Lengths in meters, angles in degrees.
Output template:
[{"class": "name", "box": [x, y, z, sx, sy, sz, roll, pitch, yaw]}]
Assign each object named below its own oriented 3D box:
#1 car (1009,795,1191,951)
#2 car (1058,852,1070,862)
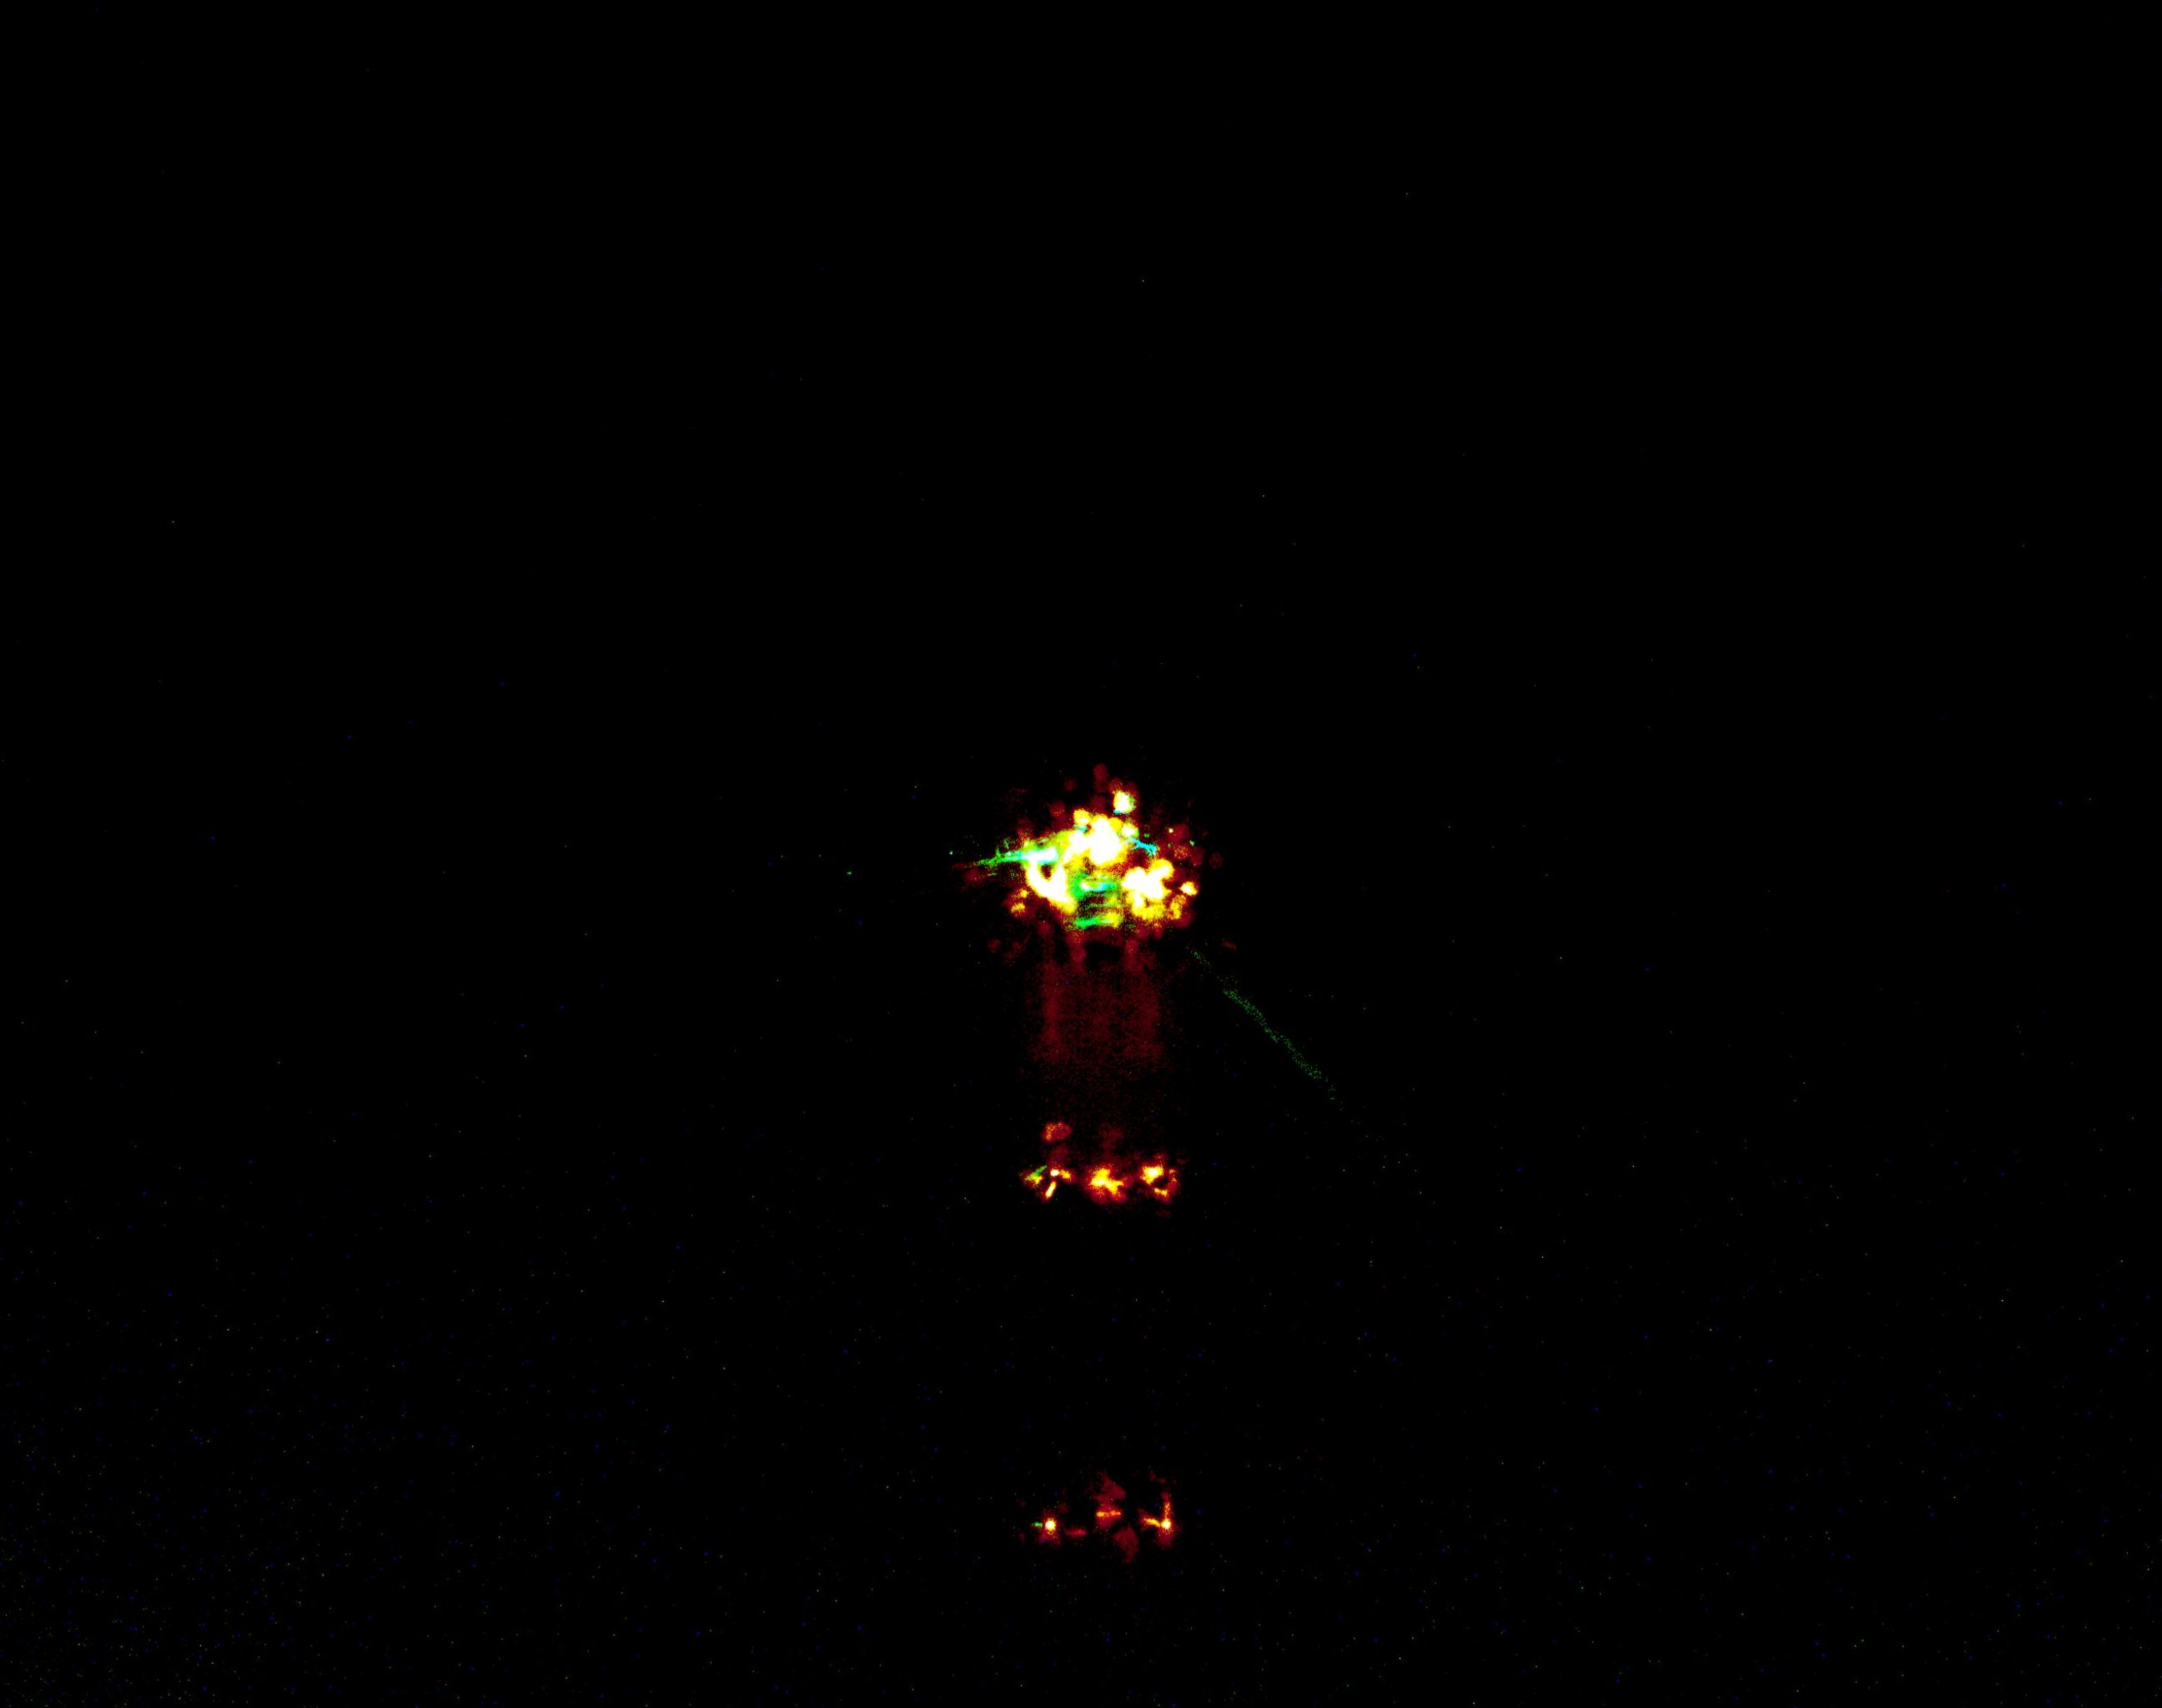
[{"class": "car", "box": [0.322, 0.265, 15.275, 2.706, 2.307, 6.101, 0, 0, 1]}, {"class": "car", "box": [-2.547, 0.511, 124.393, 1.537, 1.510, 3.883, 0, 0, 3]}]
